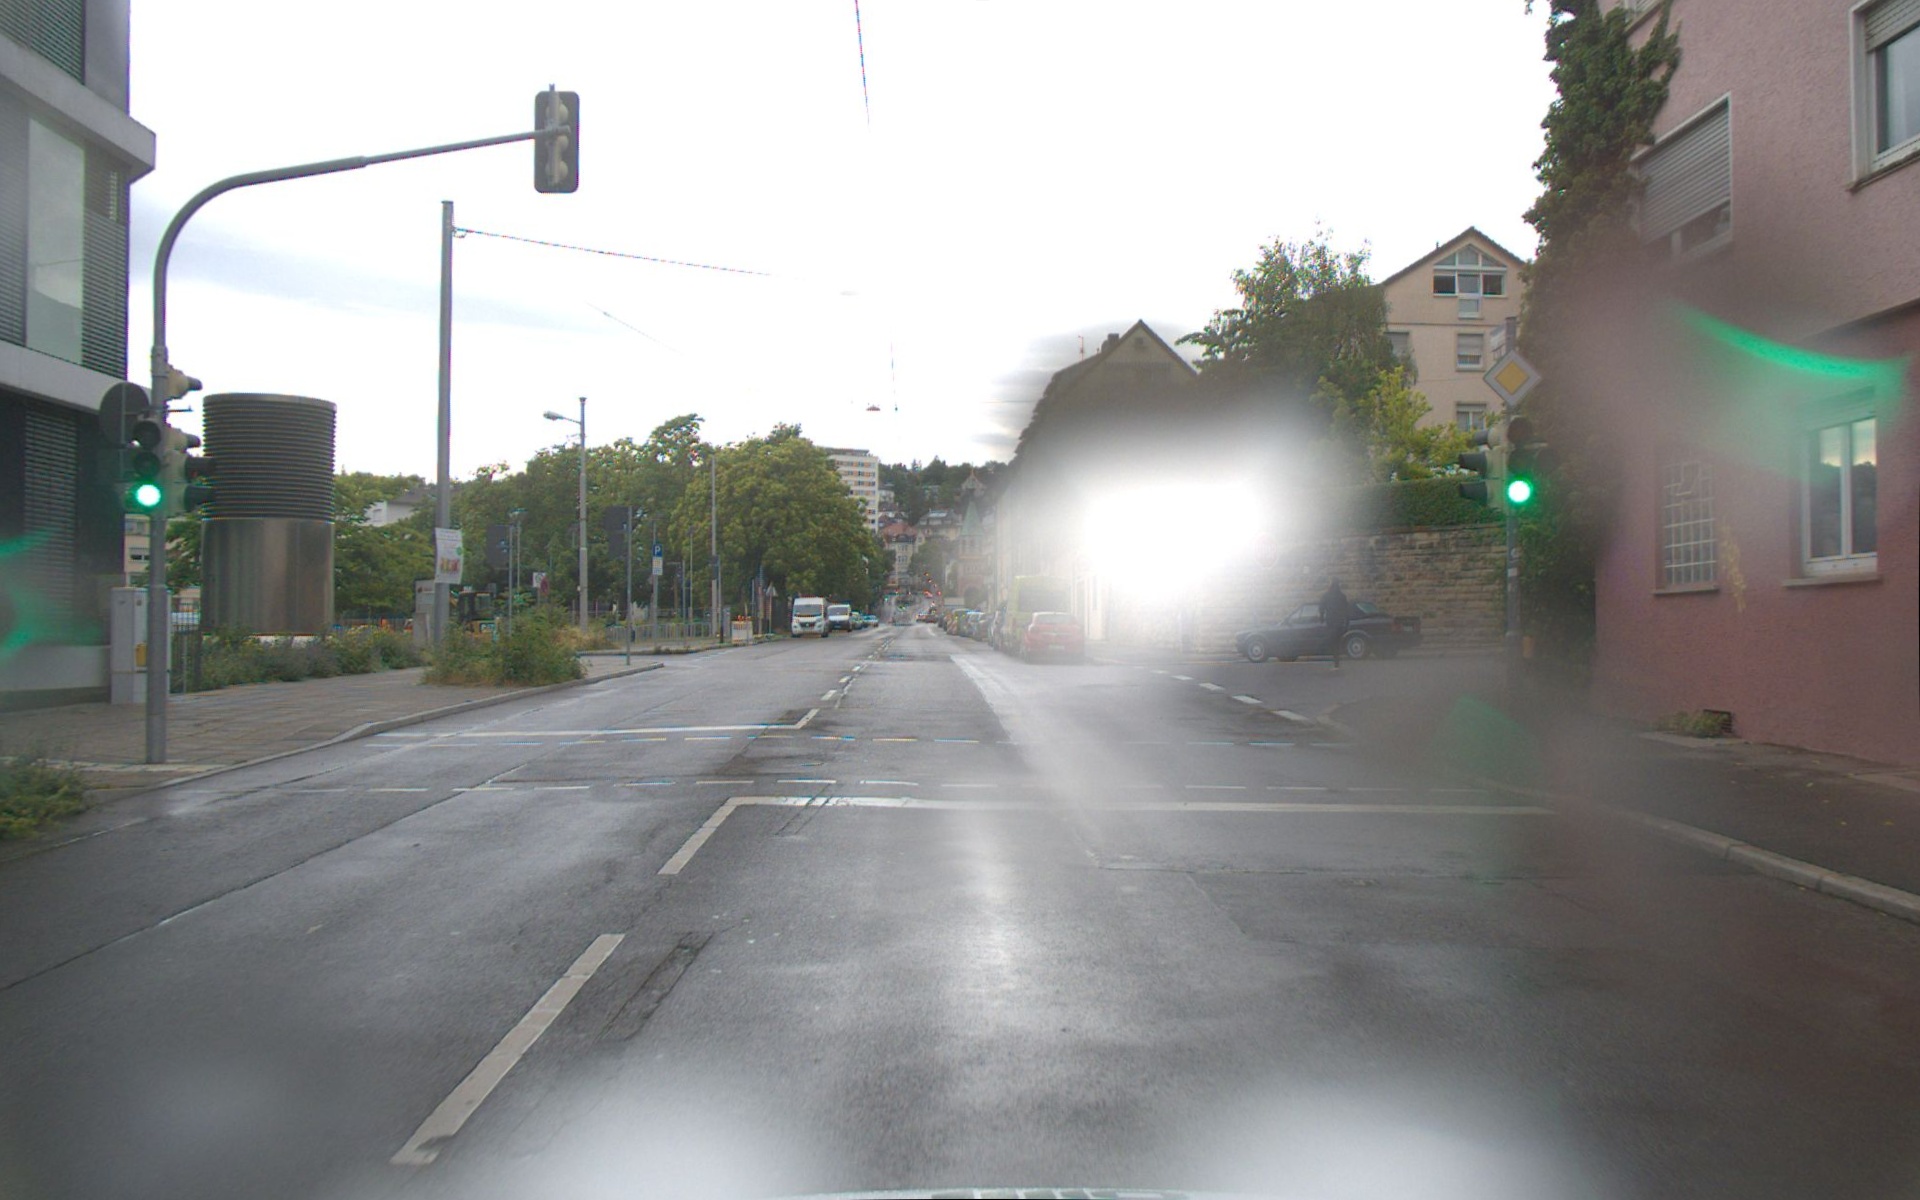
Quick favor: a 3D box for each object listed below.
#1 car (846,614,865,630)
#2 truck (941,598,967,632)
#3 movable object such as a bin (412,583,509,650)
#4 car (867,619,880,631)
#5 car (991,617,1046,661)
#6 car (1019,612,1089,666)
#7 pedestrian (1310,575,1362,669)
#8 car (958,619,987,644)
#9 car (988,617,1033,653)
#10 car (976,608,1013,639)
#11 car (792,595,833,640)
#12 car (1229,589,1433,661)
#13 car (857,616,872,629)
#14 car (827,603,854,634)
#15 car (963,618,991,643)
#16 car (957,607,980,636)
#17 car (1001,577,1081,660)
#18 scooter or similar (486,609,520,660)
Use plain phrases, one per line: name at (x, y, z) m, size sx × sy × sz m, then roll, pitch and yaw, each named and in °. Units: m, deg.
car at (-9.965, 2.100, 157.877) m, size 1.649 × 1.423 × 3.908 m, roll -1°, pitch -1°, yaw -2°
truck at (-0.593, 1.474, 162.549) m, size 2.419 × 3.228 × 7.033 m, roll 0°, pitch -1°, yaw -1°
movable object such as a bin at (-19.403, 0.642, 64.123) m, size 1.656 × 2.502 × 5.210 m, roll 0°, pitch -1°, yaw -40°
car at (-11.142, 3.207, 213.532) m, size 1.675 × 1.476 × 4.291 m, roll -1°, pitch -1°, yaw -3°
car at (2.089, 1.383, 59.973) m, size 1.654 × 1.479 × 4.233 m, roll 1°, pitch 0°, yaw -2°
car at (2.648, 1.086, 47.344) m, size 1.686 × 1.446 × 4.202 m, roll 1°, pitch 0°, yaw -1°
pedestrian at (7.162, 0.410, 31.539) m, size 0.708 × 1.745 × 0.905 m, roll -2°, pitch 0°, yaw -1°
car at (0.815, 2.025, 107.022) m, size 1.681 × 1.551 × 3.998 m, roll 1°, pitch 0°, yaw -2°
car at (2.187, 1.498, 72.231) m, size 1.654 × 1.479 × 4.233 m, roll 1°, pitch -1°, yaw -2°
car at (1.680, 1.172, 82.248) m, size 1.596 × 1.479 × 3.757 m, roll 1°, pitch 0°, yaw -2°
car at (-9.171, 1.093, 103.262) m, size 2.185 × 2.624 × 6.534 m, roll -2°, pitch 0°, yaw -2°
car at (8.435, 0.594, 37.822) m, size 4.199 × 1.417 × 1.742 m, roll -4°, pitch -3°, yaw 41°
car at (-11.517, 2.696, 198.439) m, size 1.767 × 1.476 × 4.654 m, roll -1°, pitch -1°, yaw -4°
car at (-10.233, 1.581, 142.047) m, size 1.971 × 2.531 × 5.982 m, roll -1°, pitch 0°, yaw -1°
car at (1.044, 1.846, 101.523) m, size 1.527 × 1.479 × 3.757 m, roll 1°, pitch 0°, yaw -2°
car at (0.703, 1.688, 134.070) m, size 1.681 × 2.278 × 3.998 m, roll 1°, pitch 0°, yaw -2°
car at (2.569, 0.582, 54.157) m, size 2.161 × 2.506 × 6.078 m, roll 1°, pitch 0°, yaw -1°
scooter or similar at (-11.482, 0.873, 41.595) m, size 0.486 × 1.270 × 1.231 m, roll 1°, pitch -2°, yaw -1°
